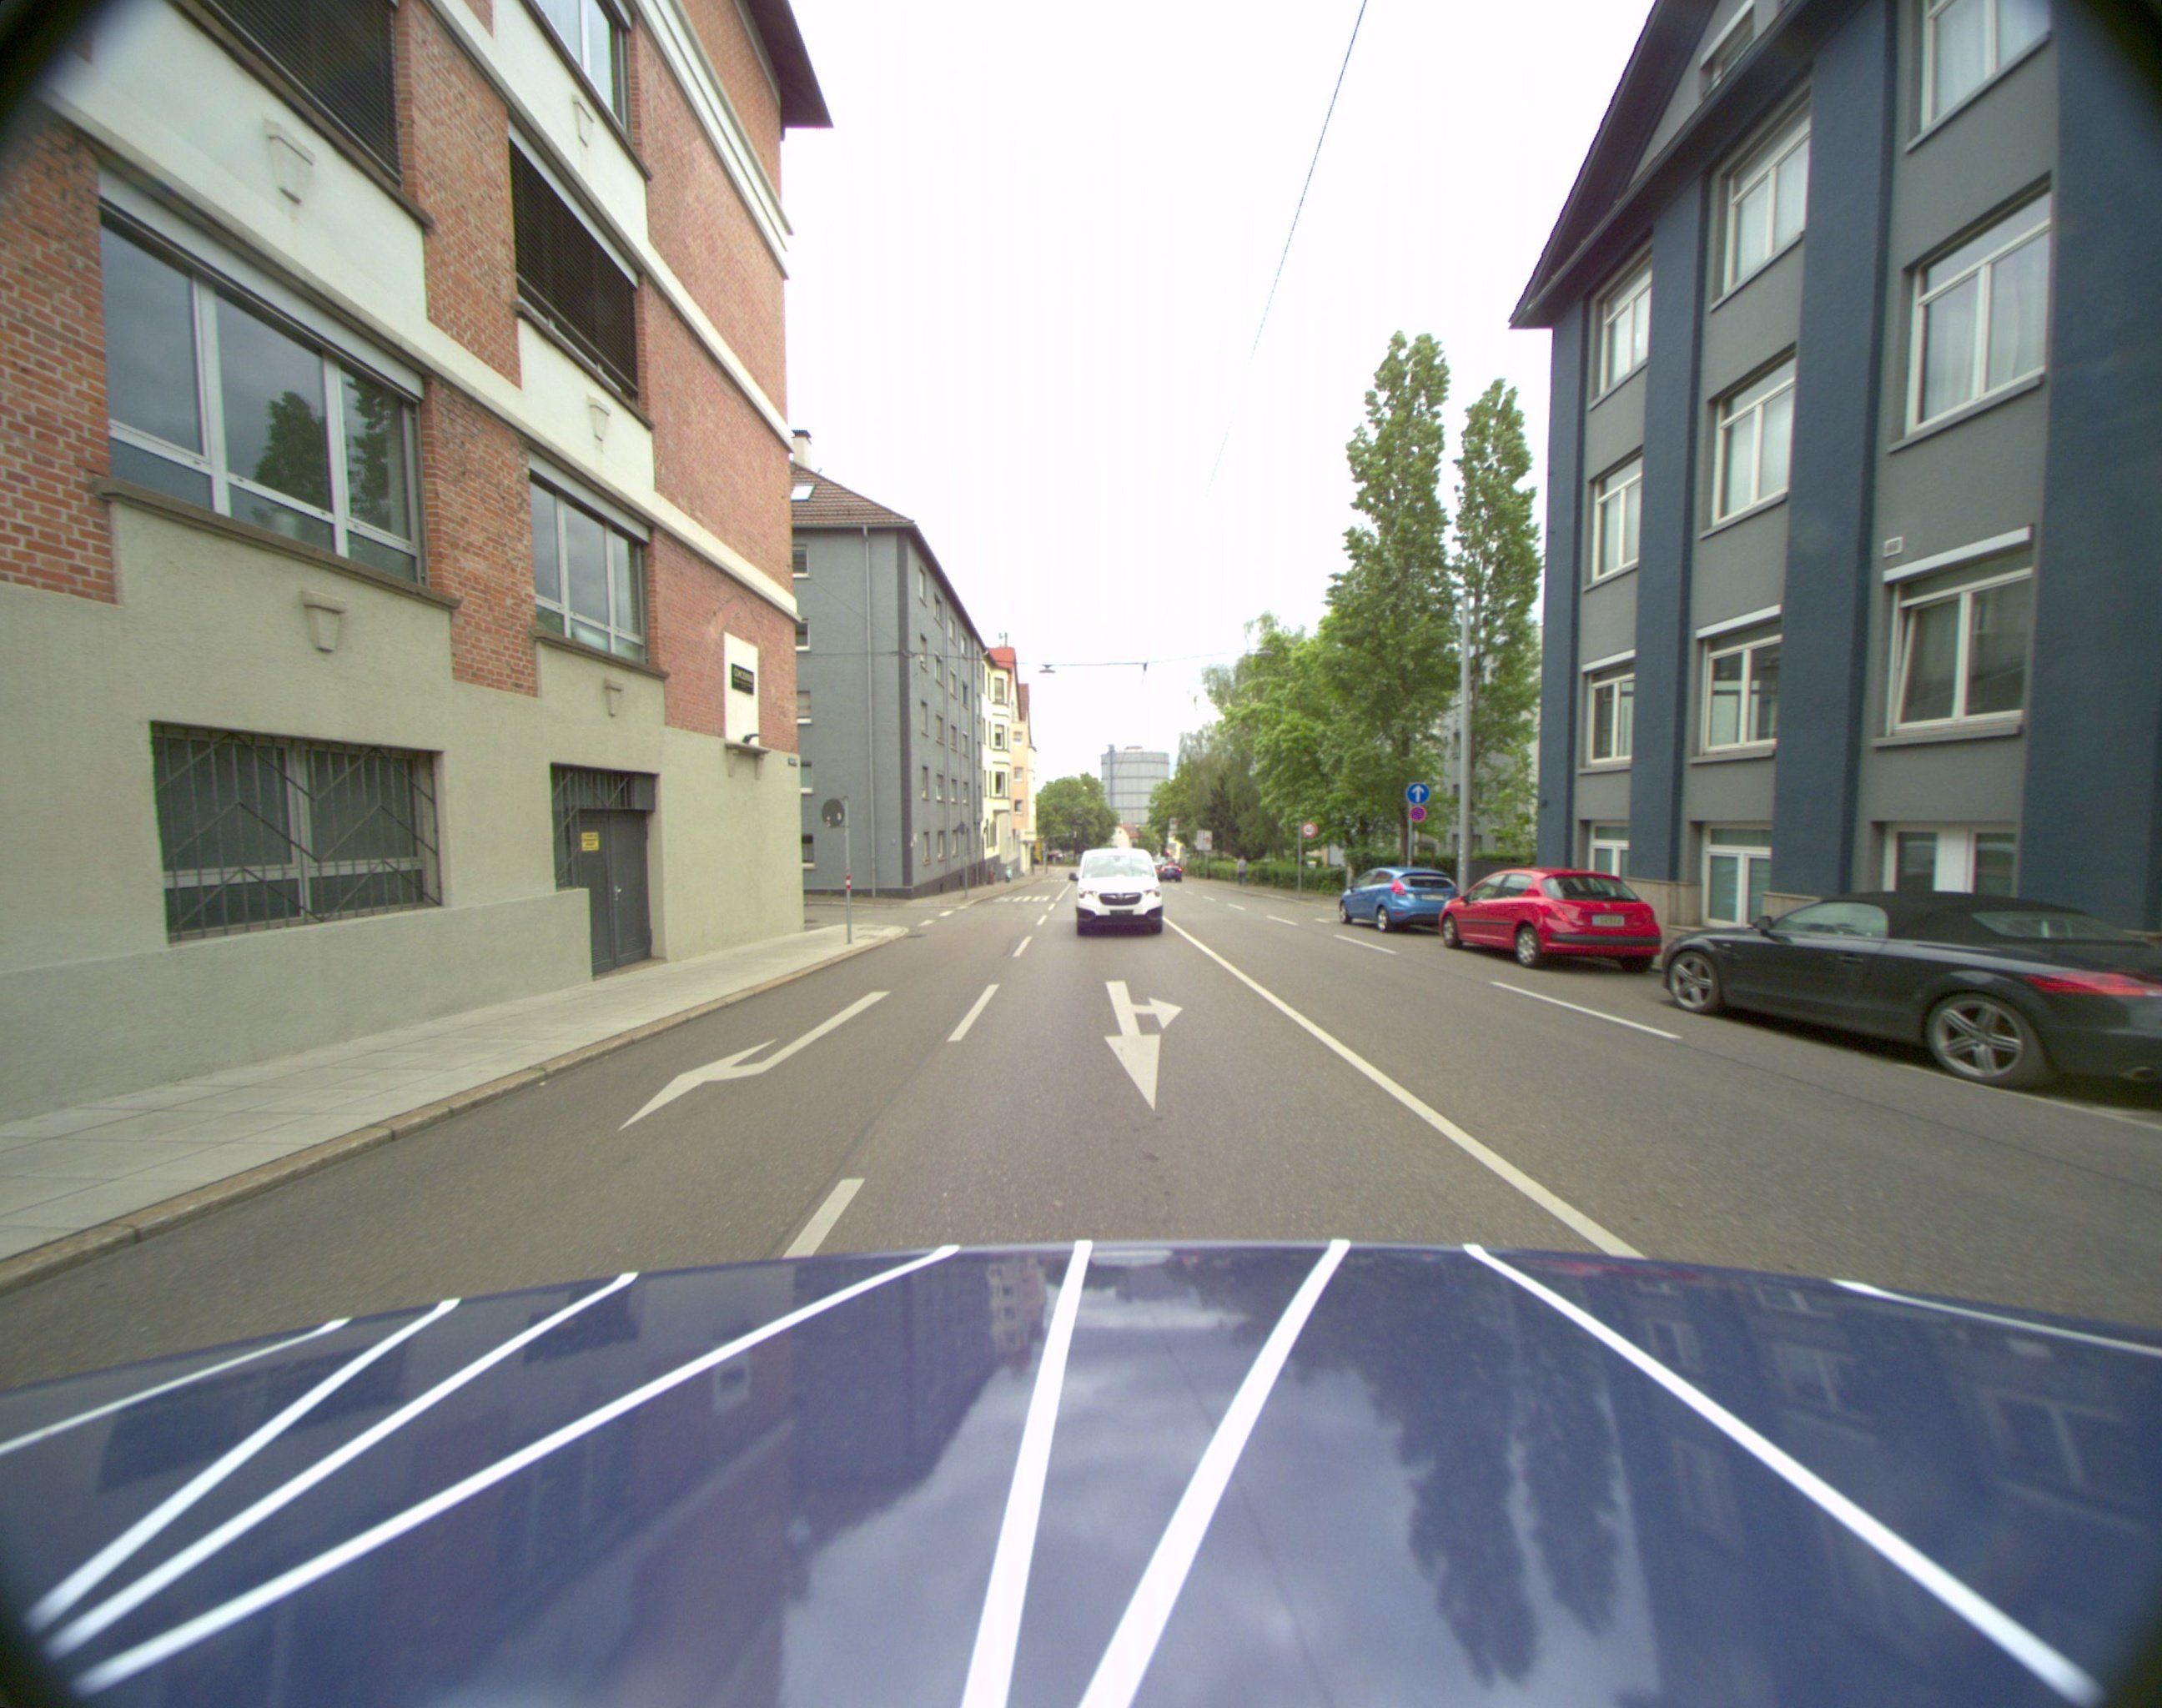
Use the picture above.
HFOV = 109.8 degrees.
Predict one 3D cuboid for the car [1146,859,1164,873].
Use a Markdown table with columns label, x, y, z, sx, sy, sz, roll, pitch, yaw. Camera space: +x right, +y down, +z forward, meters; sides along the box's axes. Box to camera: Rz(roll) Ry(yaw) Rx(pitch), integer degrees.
| label | x | y | z | sx | sy | sz | roll | pitch | yaw |
| --- | --- | --- | --- | --- | --- | --- | --- | --- | --- |
| car | 7.894 | 1.232 | 81.241 | 1.724 | 1.408 | 3.728 | 1 | 0 | 2 |

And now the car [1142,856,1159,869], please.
| label | x | y | z | sx | sy | sz | roll | pitch | yaw |
| --- | --- | --- | --- | --- | --- | --- | --- | --- | --- |
| car | 7.993 | 0.961 | 87.891 | 1.724 | 1.408 | 3.728 | 1 | 0 | 2 |

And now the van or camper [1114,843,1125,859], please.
| label | x | y | z | sx | sy | sz | roll | pitch | yaw |
| --- | --- | --- | --- | --- | --- | --- | --- | --- | --- |
| van or camper | 6.902 | -0.552 | 137.530 | 1.914 | 2.754 | 5.925 | 1 | 0 | 2 |

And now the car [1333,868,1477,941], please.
| label | x | y | z | sx | sy | sz | roll | pitch | yaw |
| --- | --- | --- | --- | --- | --- | --- | --- | --- | --- |
| car | 7.374 | 1.080 | 17.684 | 1.724 | 1.445 | 3.727 | 1 | 0 | 0 |

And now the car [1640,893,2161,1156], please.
| label | x | y | z | sx | sy | sz | roll | pitch | yaw |
| --- | --- | --- | --- | --- | --- | --- | --- | --- | --- |
| car | 7.068 | 1.116 | 6.394 | 1.724 | 1.319 | 4.041 | 2 | 0 | 0 |

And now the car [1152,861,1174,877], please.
| label | x | y | z | sx | sy | sz | roll | pitch | yaw |
| --- | --- | --- | --- | --- | --- | --- | --- | --- | --- |
| car | 7.299 | 1.311 | 67.879 | 1.724 | 1.408 | 3.728 | 1 | 0 | 2 |

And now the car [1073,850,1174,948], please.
| label | x | y | z | sx | sy | sz | roll | pitch | yaw |
| --- | --- | --- | --- | --- | --- | --- | --- | --- | --- |
| car | 0.849 | 0.852 | 16.769 | 1.840 | 1.797 | 4.939 | -2 | 0 | 1 |

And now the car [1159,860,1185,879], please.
| label | x | y | z | sx | sy | sz | roll | pitch | yaw |
| --- | --- | --- | --- | --- | --- | --- | --- | --- | --- |
| car | 7.202 | 1.204 | 60.349 | 1.724 | 1.475 | 3.728 | 1 | 0 | 2 |

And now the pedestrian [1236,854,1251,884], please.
| label | x | y | z | sx | sy | sz | roll | pitch | yaw |
| --- | --- | --- | --- | --- | --- | --- | --- | --- | --- |
| pedestrian | 9.902 | 0.901 | 46.316 | 0.746 | 1.839 | 0.776 | -1 | 0 | 2 |

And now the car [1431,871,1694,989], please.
| label | x | y | z | sx | sy | sz | roll | pitch | yaw |
| --- | --- | --- | --- | --- | --- | --- | --- | --- | --- |
| car | 7.377 | 1.069 | 12.179 | 1.819 | 1.465 | 3.869 | 2 | 0 | 2 |

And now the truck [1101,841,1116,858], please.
| label | x | y | z | sx | sy | sz | roll | pitch | yaw |
| --- | --- | --- | --- | --- | --- | --- | --- | --- | --- |
| truck | 5.814 | -1.003 | 162.785 | 2.980 | 3.394 | 9.359 | -2 | 0 | 1 |

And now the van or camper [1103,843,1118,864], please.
| label | x | y | z | sx | sy | sz | roll | pitch | yaw |
| --- | --- | --- | --- | --- | --- | --- | --- | --- | --- |
| van or camper | 4.162 | -0.062 | 107.941 | 1.914 | 2.754 | 5.925 | 1 | 0 | 2 |

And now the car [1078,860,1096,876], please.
| label | x | y | z | sx | sy | sz | roll | pitch | yaw |
| --- | --- | --- | --- | --- | --- | --- | --- | --- | --- |
| car | 0.645 | 1.436 | 78.903 | 1.724 | 1.485 | 3.728 | 1 | 0 | 2 |

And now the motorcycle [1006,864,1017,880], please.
| label | x | y | z | sx | sy | sz | roll | pitch | yaw |
| --- | --- | --- | --- | --- | --- | --- | --- | --- | --- |
| motorcycle | -5.155 | 1.355 | 56.322 | 0.566 | 1.105 | 1.653 | 4 | 0 | 2 |
